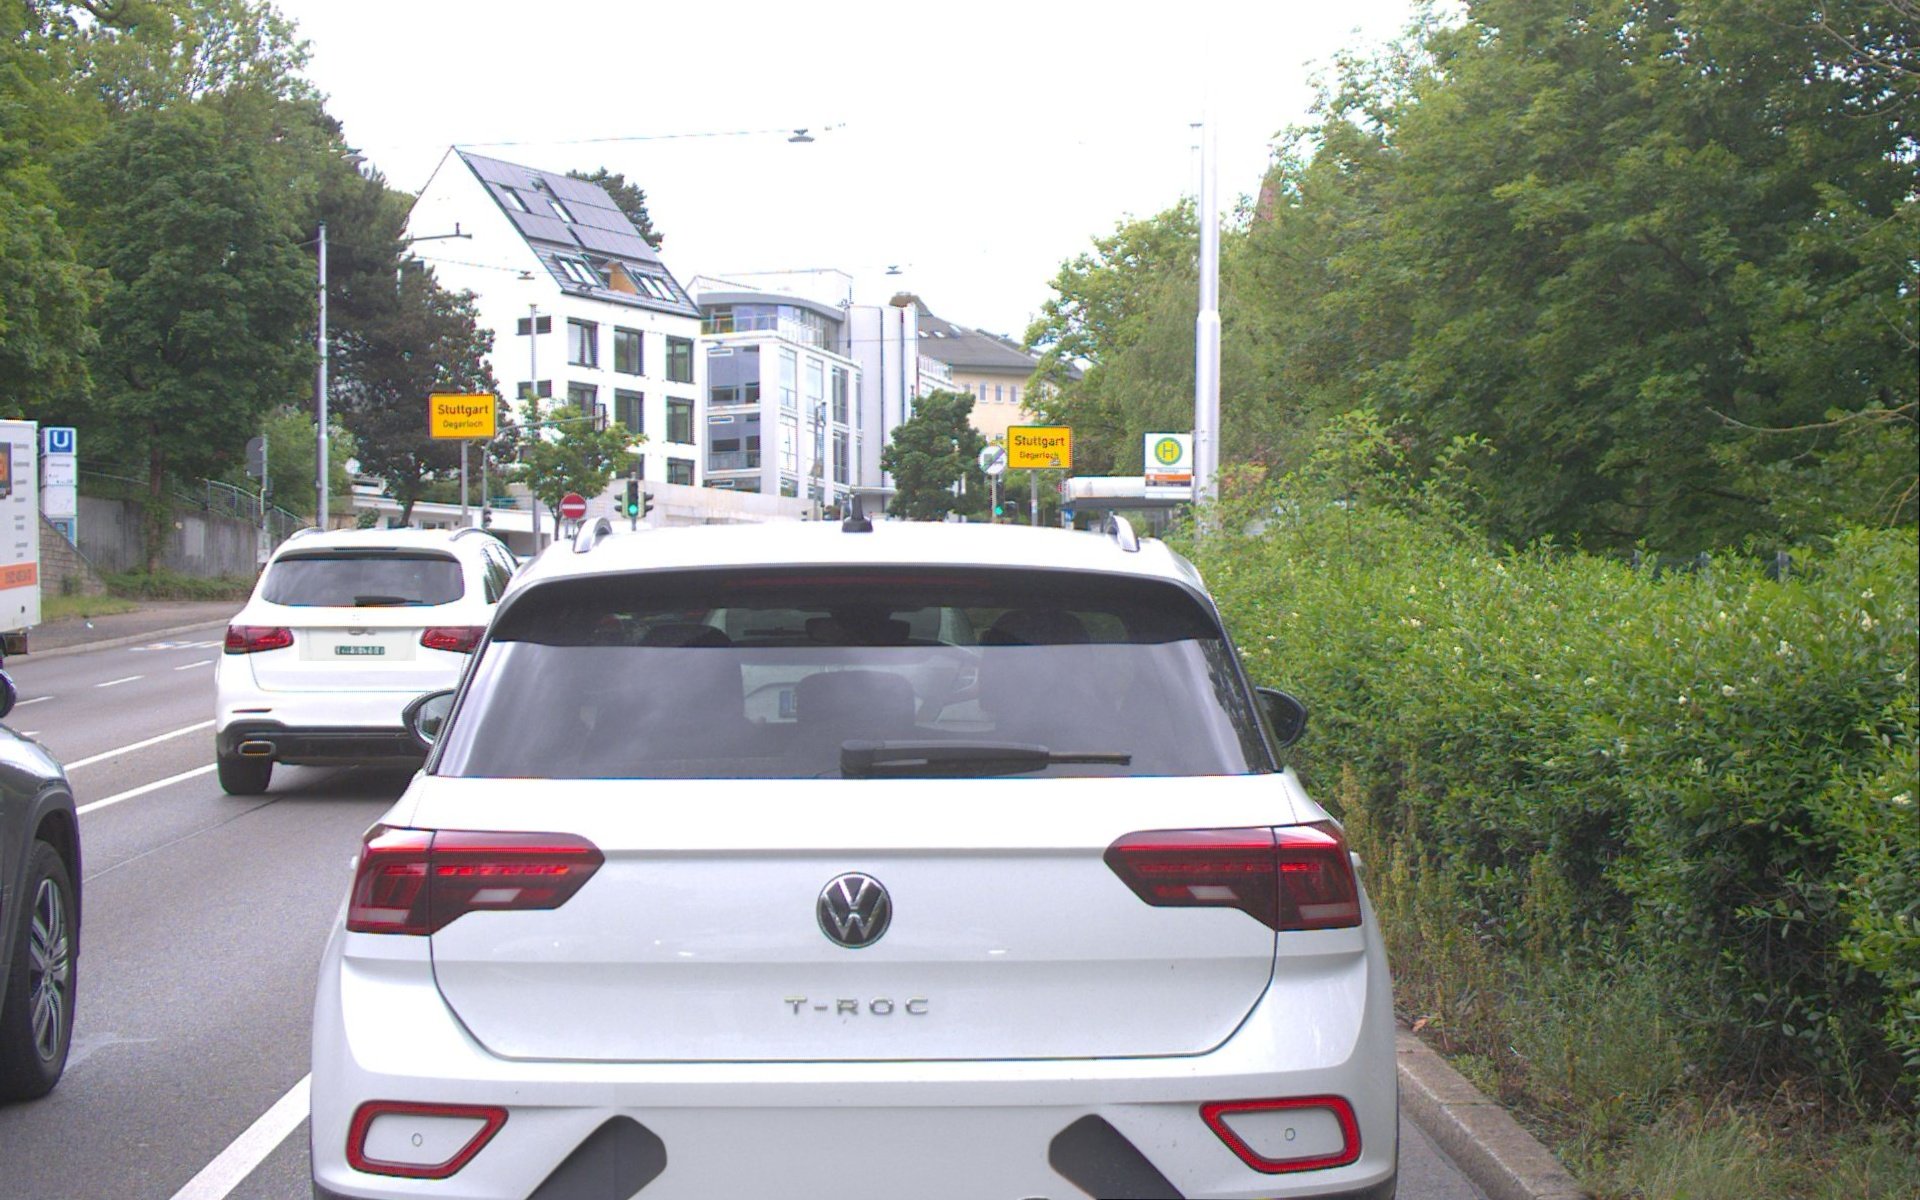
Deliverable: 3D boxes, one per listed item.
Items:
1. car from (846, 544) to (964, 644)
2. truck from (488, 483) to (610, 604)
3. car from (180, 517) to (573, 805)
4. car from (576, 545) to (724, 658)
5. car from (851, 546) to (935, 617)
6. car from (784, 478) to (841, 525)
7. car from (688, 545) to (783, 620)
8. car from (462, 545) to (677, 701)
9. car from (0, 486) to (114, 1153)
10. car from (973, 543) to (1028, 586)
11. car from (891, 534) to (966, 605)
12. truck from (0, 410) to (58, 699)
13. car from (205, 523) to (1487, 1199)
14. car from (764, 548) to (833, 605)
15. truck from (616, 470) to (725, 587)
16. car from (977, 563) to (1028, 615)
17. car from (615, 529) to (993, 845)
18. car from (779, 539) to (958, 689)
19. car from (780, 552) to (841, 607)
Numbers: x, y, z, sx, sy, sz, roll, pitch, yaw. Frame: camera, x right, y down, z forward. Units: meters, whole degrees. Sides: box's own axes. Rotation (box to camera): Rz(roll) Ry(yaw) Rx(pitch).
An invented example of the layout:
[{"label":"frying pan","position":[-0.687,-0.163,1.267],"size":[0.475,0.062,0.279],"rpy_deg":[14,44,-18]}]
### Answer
[{"label":"car","position":[-0.910,-0.128,55.771],"size":[1.829,1.520,4.000],"rpy_deg":[-1,1,-1]},{"label":"truck","position":[-9.619,-1.330,80.765],"size":[2.362,2.697,4.478],"rpy_deg":[-2,1,-1]},{"label":"car","position":[-3.617,0.325,21.977],"size":[1.918,1.664,4.000],"rpy_deg":[0,1,-1]},{"label":"car","position":[-4.381,-0.009,49.089],"size":[1.829,1.520,4.000],"rpy_deg":[-1,1,-1]},{"label":"car","position":[-1.538,-0.443,77.950],"size":[1.829,1.520,4.000],"rpy_deg":[-1,1,-1]},{"label":"car","position":[-4.980,-3.329,116.319],"size":[1.829,1.520,4.000],"rpy_deg":[-1,1,-1]},{"label":"car","position":[-4.753,-0.384,73.191],"size":[1.829,1.520,4.000],"rpy_deg":[-1,1,-1]},{"label":"car","position":[-3.967,0.193,35.465],"size":[1.829,1.492,4.000],"rpy_deg":[-1,1,-1]},{"label":"car","position":[-3.258,0.554,7.599],"size":[1.849,1.645,4.358],"rpy_deg":[0,1,-2]},{"label":"car","position":[1.478,-1.312,126.525],"size":[1.829,1.520,4.000],"rpy_deg":[-1,1,-1]},{"label":"car","position":[-0.929,-0.883,99.238],"size":[1.993,1.963,4.001],"rpy_deg":[-1,1,-2]},{"label":"truck","position":[-11.174,-0.450,35.225],"size":[2.293,3.040,6.980],"rpy_deg":[-1,1,-3]},{"label":"car","position":[-0.208,0.624,6.926],"size":[1.829,1.520,4.000],"rpy_deg":[0,1,-1]},{"label":"car","position":[-4.492,-0.685,95.997],"size":[1.829,1.520,4.000],"rpy_deg":[-1,1,-1]},{"label":"truck","position":[-7.141,-1.764,85.234],"size":[2.362,2.772,4.478],"rpy_deg":[-2,1,-1]},{"label":"car","position":[1.698,-0.421,138.780],"size":[1.993,2.007,4.000],"rpy_deg":[-1,0,0]},{"label":"car","position":[-0.817,0.397,18.913],"size":[1.829,1.520,4.000],"rpy_deg":[-1,1,-1]},{"label":"car","position":[-0.996,0.115,37.570],"size":[1.829,1.520,4.000],"rpy_deg":[-1,1,-1]},{"label":"car","position":[-4.724,-0.668,109.314],"size":[1.815,1.651,3.929],"rpy_deg":[-2,1,-1]}]
